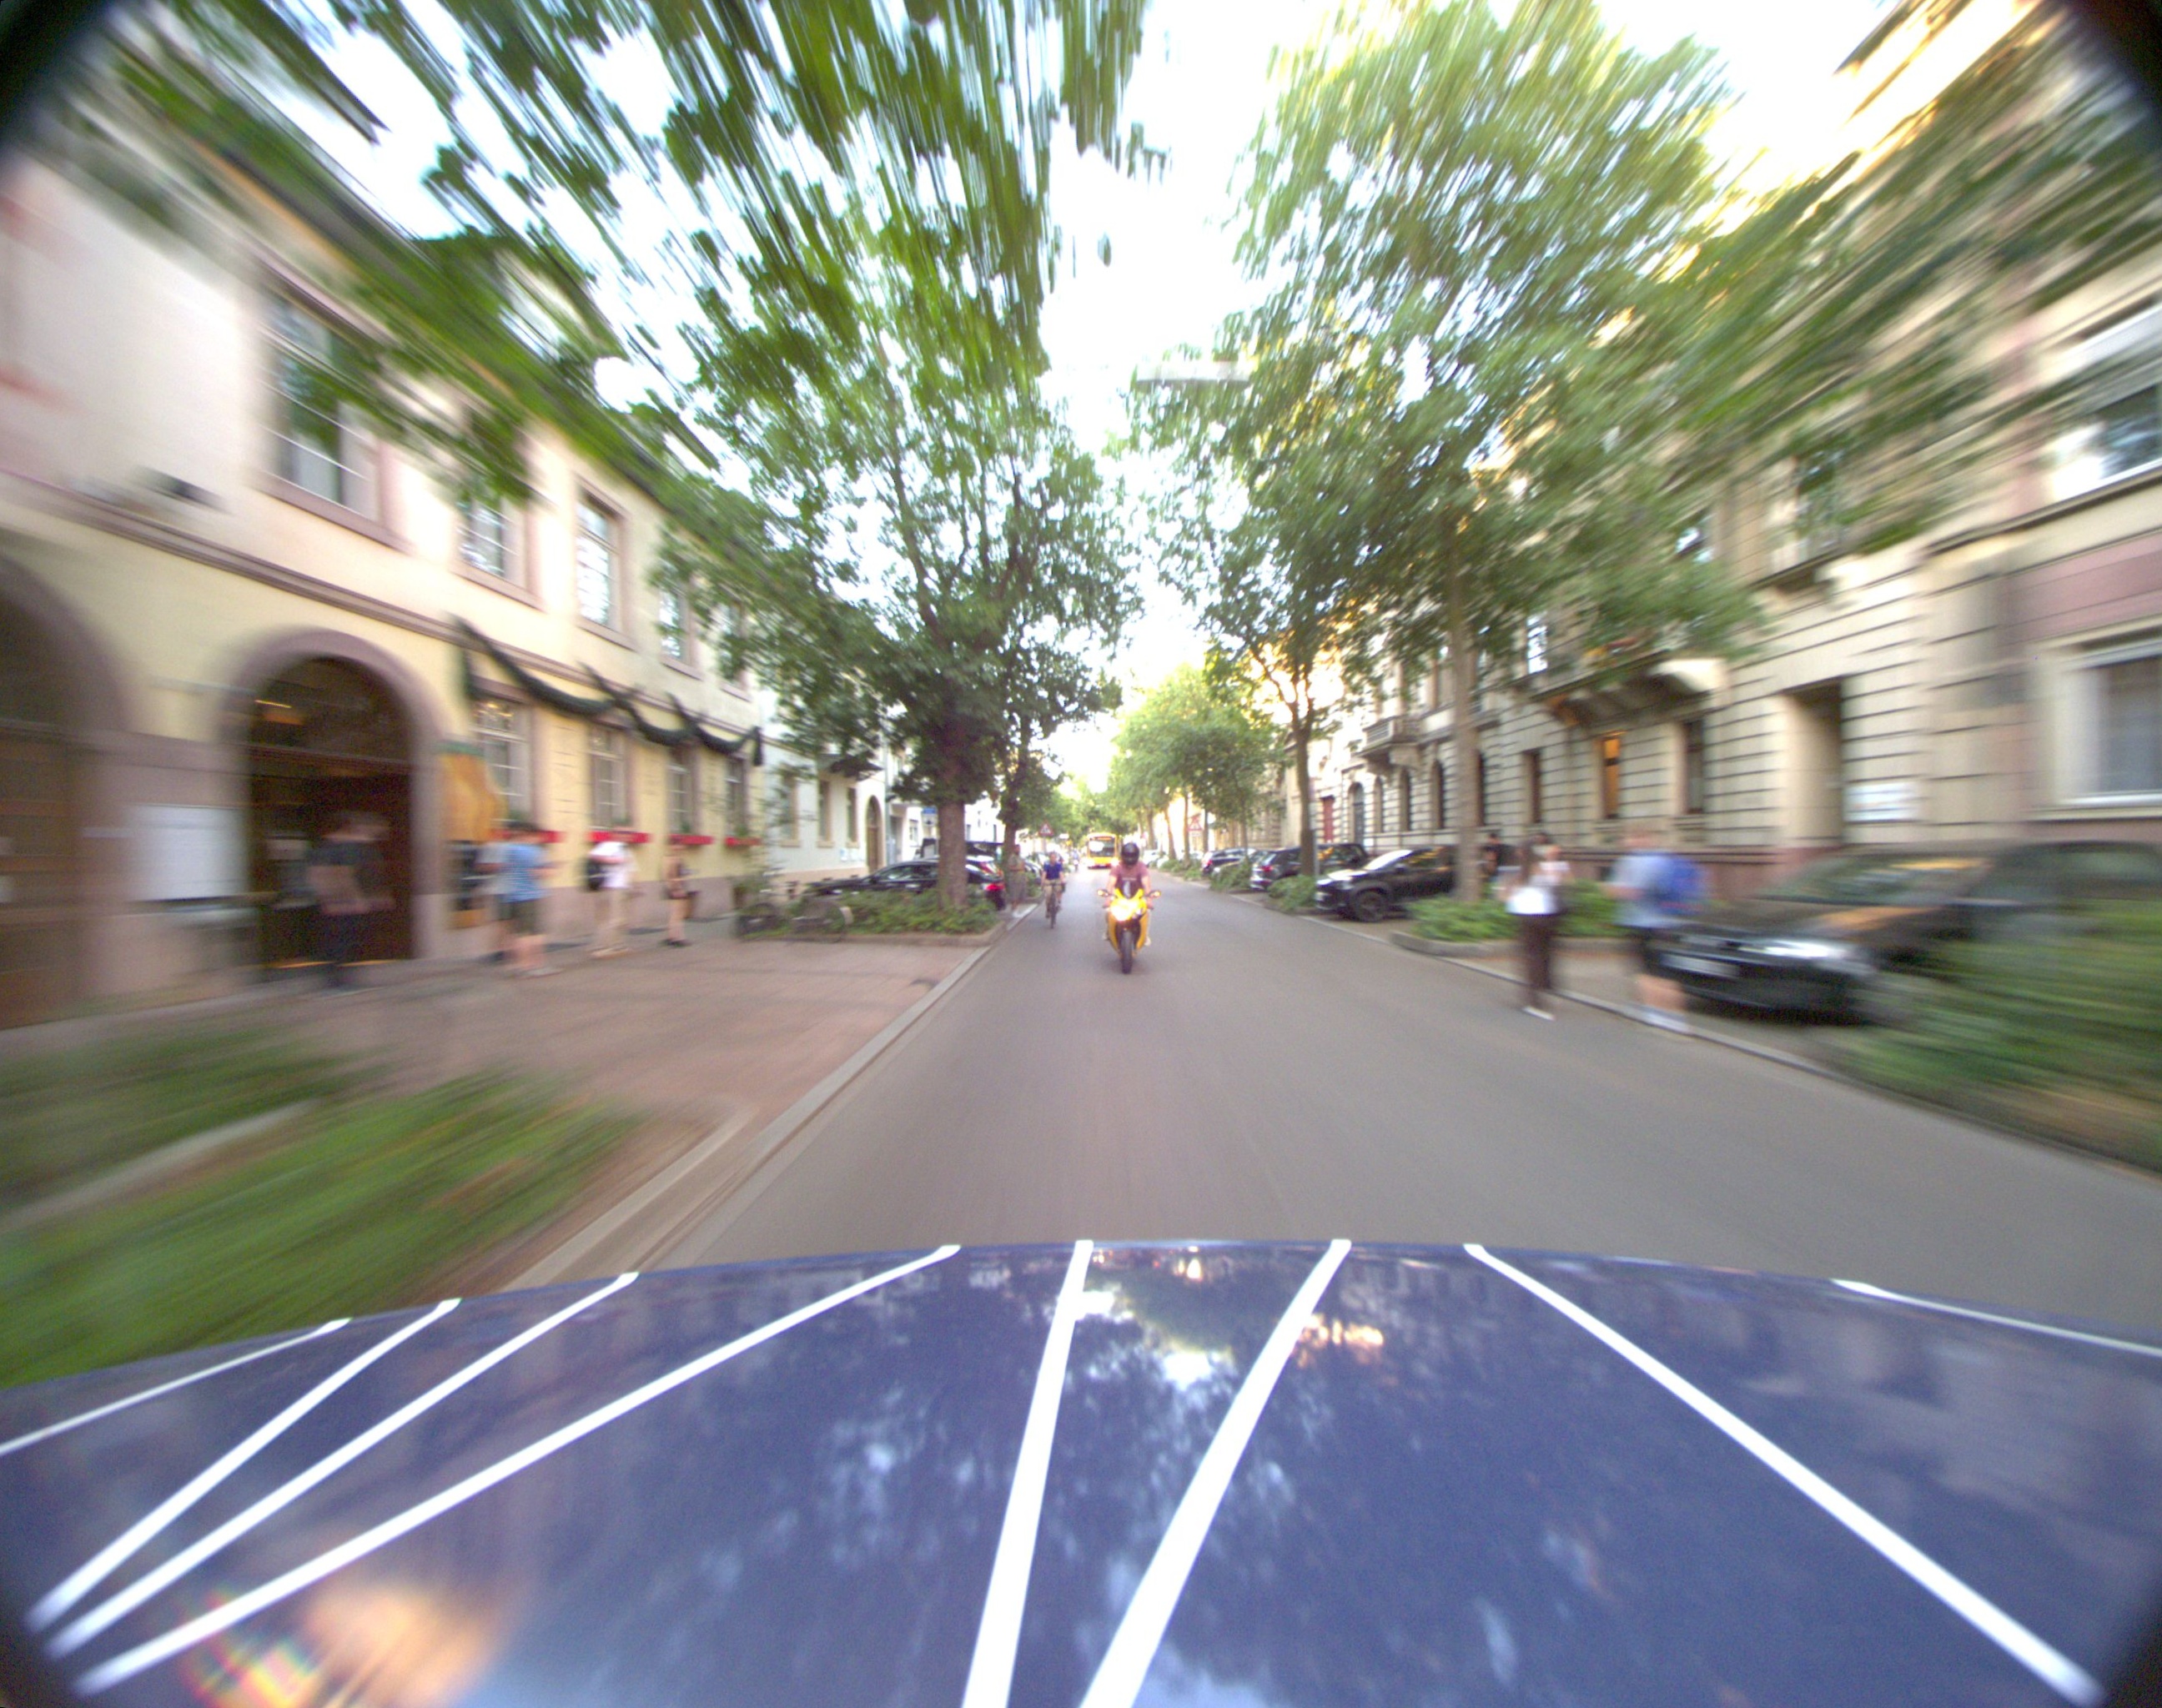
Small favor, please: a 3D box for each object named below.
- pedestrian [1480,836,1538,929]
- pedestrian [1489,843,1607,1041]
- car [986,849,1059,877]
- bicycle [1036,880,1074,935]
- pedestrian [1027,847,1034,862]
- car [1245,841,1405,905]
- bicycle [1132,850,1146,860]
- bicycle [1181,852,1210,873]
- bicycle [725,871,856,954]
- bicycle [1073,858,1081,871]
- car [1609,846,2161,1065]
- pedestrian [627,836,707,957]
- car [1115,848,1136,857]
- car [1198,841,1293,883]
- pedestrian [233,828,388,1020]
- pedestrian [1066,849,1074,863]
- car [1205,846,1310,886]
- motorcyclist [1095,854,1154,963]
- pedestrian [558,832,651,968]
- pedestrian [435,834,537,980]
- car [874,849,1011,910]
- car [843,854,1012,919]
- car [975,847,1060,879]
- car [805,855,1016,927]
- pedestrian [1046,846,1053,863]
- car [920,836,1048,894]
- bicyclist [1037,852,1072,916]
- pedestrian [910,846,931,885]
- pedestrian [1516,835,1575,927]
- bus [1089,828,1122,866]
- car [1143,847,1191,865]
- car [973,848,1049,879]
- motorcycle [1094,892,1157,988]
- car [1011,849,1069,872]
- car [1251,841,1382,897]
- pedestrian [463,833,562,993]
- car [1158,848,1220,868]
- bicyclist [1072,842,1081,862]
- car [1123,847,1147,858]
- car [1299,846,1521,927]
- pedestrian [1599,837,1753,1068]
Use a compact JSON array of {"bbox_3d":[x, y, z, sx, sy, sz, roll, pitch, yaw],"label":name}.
[{"bbox_3d":[8.213,0.535,14.614,0.736,1.729,0.671,-2,1,7],"label":"pedestrian"},{"bbox_3d":[4.203,0.737,6.909,0.795,1.661,0.832,0,1,24],"label":"pedestrian"},{"bbox_3d":[-3.429,0.520,45.316,4.083,1.421,1.818,2,1,3],"label":"car"},{"bbox_3d":[-0.553,1.136,16.640,0.674,1.024,1.977,-3,0,1],"label":"bicycle"},{"bbox_3d":[-6.011,0.066,90.359,0.699,1.844,1.049,0,0,-2],"label":"pedestrian"},{"bbox_3d":[7.301,0.553,23.085,4.211,1.662,1.907,-3,0,1],"label":"car"},{"bbox_3d":[7.431,0.172,97.418,0.805,1.217,2.422,-5,-2,25],"label":"bicycle"},{"bbox_3d":[7.080,0.526,46.992,1.775,1.225,0.500,-1,2,6],"label":"bicycle"},{"bbox_3d":[-4.555,0.913,12.030,1.800,1.226,0.673,2,1,-9],"label":"bicycle"},{"bbox_3d":[-0.323,0.828,60.068,0.637,0.977,1.981,-3,0,-1],"label":"bicycle"},{"bbox_3d":[7.037,0.745,6.498,3.701,1.450,1.872,-3,0,0],"label":"car"},{"bbox_3d":[-6.143,0.611,11.302,0.707,1.728,0.727,1,0,14],"label":"pedestrian"},{"bbox_3d":[9.201,-0.302,156.016,3.999,1.699,1.844,-1,1,-7],"label":"car"},{"bbox_3d":[7.664,0.372,35.692,3.975,1.587,1.780,-5,1,1],"label":"car"},{"bbox_3d":[-7.342,0.641,7.282,0.779,1.728,0.683,1,0,-15],"label":"pedestrian"},{"bbox_3d":[-1.163,0.209,81.185,0.600,1.503,0.719,1,1,-28],"label":"pedestrian"},{"bbox_3d":[7.416,0.497,32.189,3.974,1.379,1.765,-4,0,2],"label":"car"},{"bbox_3d":[0.584,0.711,10.227,0.737,1.404,0.726,-1,1,2],"label":"motorcyclist"},{"bbox_3d":[-6.346,0.590,10.141,0.712,1.728,0.749,1,0,21],"label":"pedestrian"},{"bbox_3d":[-7.435,0.626,9.509,0.725,1.728,0.746,1,0,28],"label":"pedestrian"},{"bbox_3d":[-4.044,0.718,22.608,3.689,1.569,1.714,2,1,1],"label":"car"},{"bbox_3d":[-3.923,0.811,19.953,3.997,1.429,1.926,2,1,-1],"label":"car"},{"bbox_3d":[-3.548,0.490,42.925,4.602,1.569,1.944,2,1,0],"label":"car"},{"bbox_3d":[-3.790,0.809,17.494,4.412,1.386,1.885,2,1,-1],"label":"car"},{"bbox_3d":[-3.375,0.075,81.193,0.574,1.764,0.546,2,1,40],"label":"pedestrian"},{"bbox_3d":[-3.764,0.407,30.023,4.701,1.999,2.037,2,1,0],"label":"car"},{"bbox_3d":[-0.570,0.642,16.723,0.674,1.355,0.776,-3,1,1],"label":"bicyclist"},{"bbox_3d":[-6.661,0.458,31.556,0.670,1.589,0.737,-2,1,1],"label":"pedestrian"},{"bbox_3d":[9.078,0.517,14.870,0.736,1.729,0.671,-2,1,7],"label":"pedestrian"},{"bbox_3d":[2.146,-0.657,70.902,2.668,3.176,11.897,-2,0,1],"label":"bus"},{"bbox_3d":[7.704,0.171,68.532,4.180,1.548,1.827,-1,1,3],"label":"car"},{"bbox_3d":[-3.638,0.479,40.145,3.802,1.415,1.697,2,1,0],"label":"car"},{"bbox_3d":[0.592,1.103,10.297,0.737,1.053,1.964,-1,1,3],"label":"motorcycle"},{"bbox_3d":[-2.997,0.474,56.619,4.119,1.608,1.961,-1,1,1],"label":"car"},{"bbox_3d":[7.884,0.482,25.651,3.810,1.662,1.714,-3,0,0],"label":"car"},{"bbox_3d":[-6.387,0.641,8.559,0.616,1.728,0.623,1,0,1],"label":"pedestrian"},{"bbox_3d":[8.207,0.279,58.211,4.524,1.382,1.916,-1,1,2],"label":"car"},{"bbox_3d":[-0.378,-0.164,60.045,0.637,1.552,0.818,-3,0,-1],"label":"bicyclist"},{"bbox_3d":[9.614,-0.274,134.810,3.999,1.940,1.999,-1,1,-7],"label":"car"},{"bbox_3d":[6.947,0.665,16.402,3.954,1.523,1.907,-2,1,3],"label":"car"},{"bbox_3d":[4.796,0.730,6.194,0.795,1.727,0.832,0,1,24],"label":"pedestrian"}]
